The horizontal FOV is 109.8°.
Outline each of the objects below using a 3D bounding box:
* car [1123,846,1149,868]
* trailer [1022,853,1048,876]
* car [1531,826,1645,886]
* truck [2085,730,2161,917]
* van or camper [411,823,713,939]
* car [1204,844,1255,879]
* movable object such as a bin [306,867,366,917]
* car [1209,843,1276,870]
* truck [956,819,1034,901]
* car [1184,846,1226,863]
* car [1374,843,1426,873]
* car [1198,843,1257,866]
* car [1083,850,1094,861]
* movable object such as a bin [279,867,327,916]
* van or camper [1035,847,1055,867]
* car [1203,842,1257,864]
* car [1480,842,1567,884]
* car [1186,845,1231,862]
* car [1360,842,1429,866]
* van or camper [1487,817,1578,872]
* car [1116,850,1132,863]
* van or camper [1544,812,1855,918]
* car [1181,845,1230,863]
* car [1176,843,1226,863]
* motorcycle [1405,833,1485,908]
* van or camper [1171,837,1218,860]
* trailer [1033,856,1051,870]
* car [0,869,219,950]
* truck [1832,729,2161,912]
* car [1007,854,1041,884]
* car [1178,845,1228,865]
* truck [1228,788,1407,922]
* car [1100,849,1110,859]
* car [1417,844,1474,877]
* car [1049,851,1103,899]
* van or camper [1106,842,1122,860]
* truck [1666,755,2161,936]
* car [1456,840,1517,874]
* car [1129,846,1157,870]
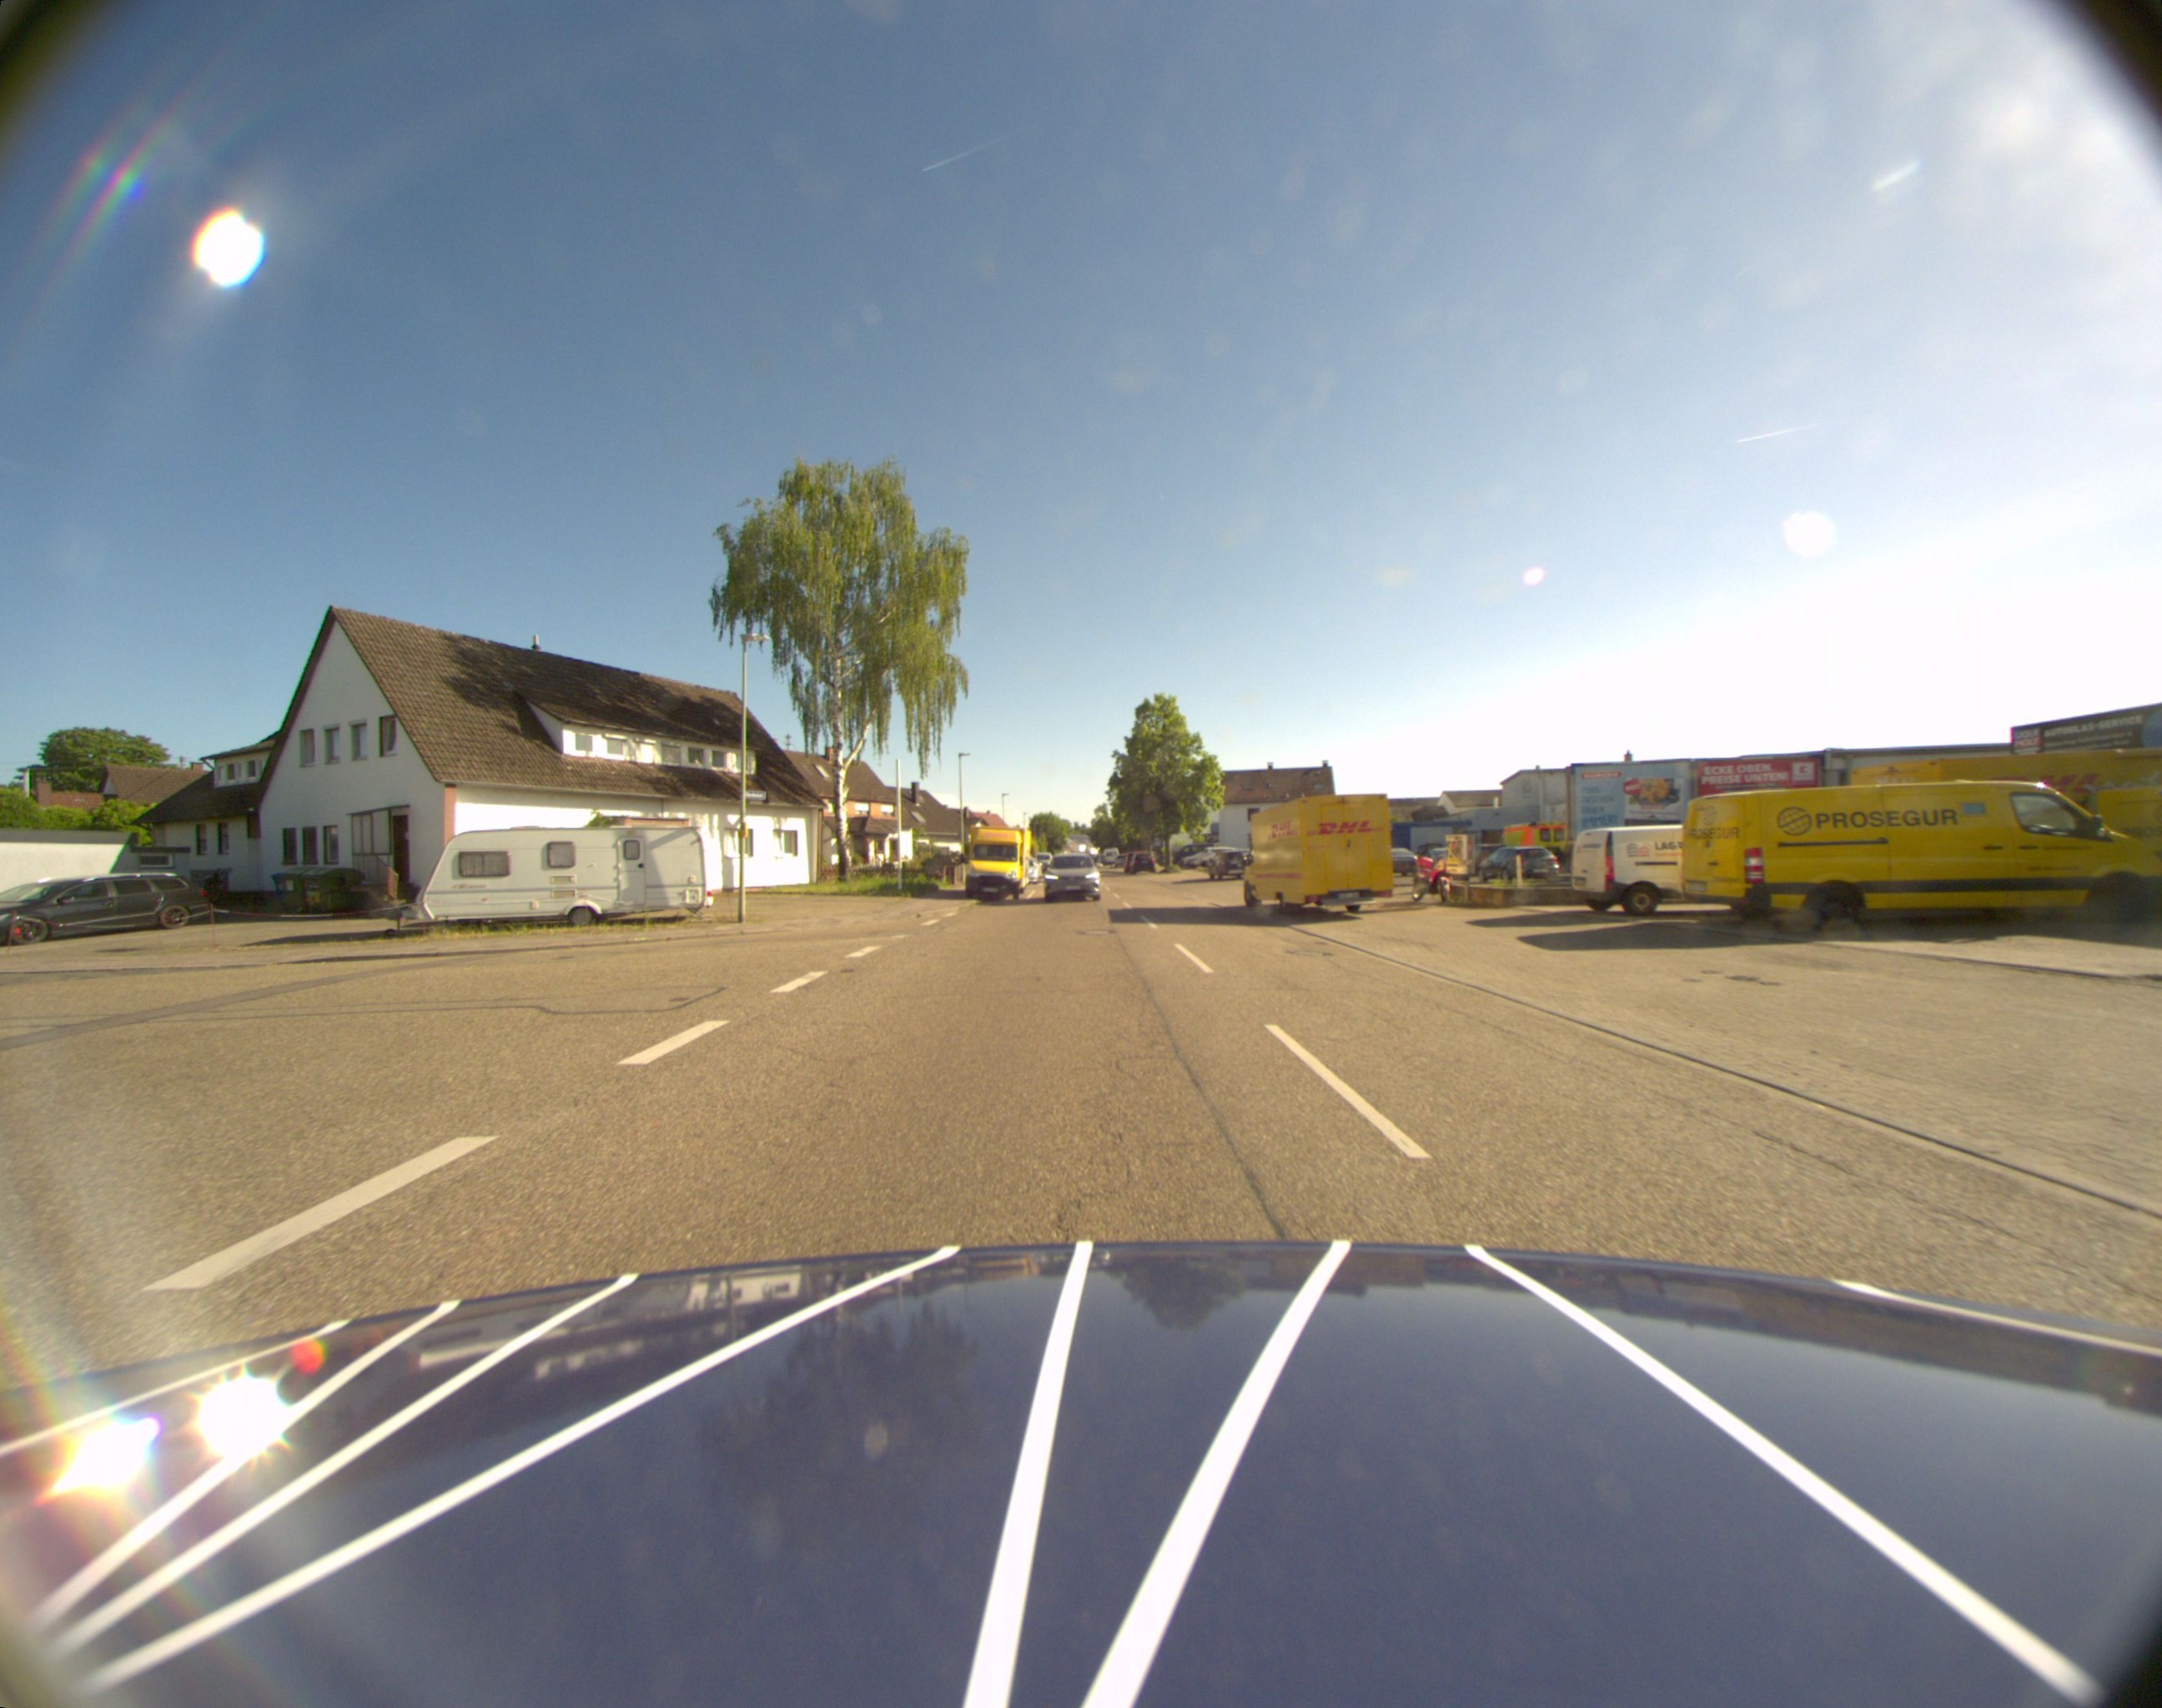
[{"bbox_3d":[4.780,0.213,66.341,1.808,1.742,4.341,-3,1,0],"label":"car"},{"bbox_3d":[-3.301,0.739,54.968,1.631,1.529,3.198,-1,1,0],"label":"trailer"},{"bbox_3d":[17.064,0.009,25.819,1.996,1.805,4.003,-2,1,15],"label":"car"},{"bbox_3d":[19.673,-0.517,11.455,5.343,2.955,2.175,-1,1,12],"label":"truck"},{"bbox_3d":[-12.399,0.541,18.830,5.840,2.527,2.285,-1,1,-26],"label":"van or camper"},{"bbox_3d":[8.345,0.379,42.954,1.866,1.704,4.275,-4,1,-1],"label":"car"},{"bbox_3d":[-22.238,1.119,22.698,0.834,1.428,0.993,-1,1,23],"label":"movable object such as a bin"},{"bbox_3d":[11.015,0.155,52.032,4.258,1.719,1.766,-1,1,5],"label":"car"},{"bbox_3d":[-3.319,0.171,30.910,2.409,2.920,7.014,1,1,-1],"label":"truck"},{"bbox_3d":[11.985,0.049,73.472,3.815,1.533,1.548,-2,1,0],"label":"car"},{"bbox_3d":[17.473,0.256,41.839,1.779,1.536,4.168,-1,-1,11],"label":"car"},{"bbox_3d":[11.462,0.064,59.538,4.259,1.719,1.766,-1,1,1],"label":"car"},{"bbox_3d":[1.372,0.193,142.910,1.899,2.020,4.817,1,1,0],"label":"car"},{"bbox_3d":[-23.603,1.117,23.050,1.191,1.428,0.601,-1,1,23],"label":"movable object such as a bin"},{"bbox_3d":[-3.590,0.257,76.534,1.723,1.880,4.179,-2,1,0],"label":"van or camper"},{"bbox_3d":[12.589,-0.103,64.403,4.259,1.719,1.765,-1,1,0],"label":"car"},{"bbox_3d":[17.440,0.352,30.194,1.779,1.536,4.301,-1,-1,13],"label":"car"},{"bbox_3d":[12.665,-0.057,75.809,4.258,1.533,1.766,-2,1,5],"label":"car"},{"bbox_3d":[20.871,-0.021,50.673,3.993,1.442,1.670,-1,2,13],"label":"car"},{"bbox_3d":[24.467,-0.505,41.508,2.168,2.699,6.273,-1,1,10],"label":"van or camper"},{"bbox_3d":[5.259,0.245,93.302,1.691,1.427,4.209,-3,0,1],"label":"car"},{"bbox_3d":[12.617,0.219,15.841,4.552,2.002,2.252,-1,1,6],"label":"van or camper"},{"bbox_3d":[11.796,-0.023,72.052,4.260,1.576,1.765,-2,0,-2],"label":"car"},{"bbox_3d":[10.898,-0.118,69.209,4.258,1.742,1.766,-1,1,3],"label":"car"},{"bbox_3d":[9.965,0.422,20.971,0.783,1.862,3.041,-4,0,3],"label":"motorcycle"},{"bbox_3d":[12.232,-0.609,81.940,4.900,2.307,2.245,-2,1,11],"label":"van or camper"},{"bbox_3d":[-3.645,0.803,71.700,1.632,1.210,3.143,-1,0,-3],"label":"trailer"},{"bbox_3d":[-24.116,1.269,18.099,1.719,1.430,4.629,-1,3,1],"label":"car"},{"bbox_3d":[18.761,-0.624,14.582,5.678,3.101,2.525,-3,1,11],"label":"truck"},{"bbox_3d":[-3.233,0.821,43.353,1.789,1.533,4.535,-1,0,-4],"label":"car"},{"bbox_3d":[10.697,0.068,66.741,4.258,1.719,1.766,-1,1,5],"label":"car"},{"bbox_3d":[6.141,-0.008,21.067,2.409,2.966,7.243,-3,1,-2],"label":"truck"},{"bbox_3d":[4.306,0.036,134.844,1.697,1.557,3.907,-4,0,2],"label":"car"},{"bbox_3d":[19.916,0.369,41.724,1.779,1.738,4.168,-1,-1,11],"label":"car"},{"bbox_3d":[-0.214,0.710,27.450,1.777,1.624,3.703,-1,0,-2],"label":"car"},{"bbox_3d":[4.963,-0.465,115.551,2.128,2.475,5.556,-5,-1,1],"label":"van or camper"},{"bbox_3d":[13.795,-0.095,12.717,5.931,2.553,2.225,-2,1,11],"label":"truck"},{"bbox_3d":[22.243,0.193,41.860,1.779,1.738,4.168,-1,-1,11],"label":"car"},{"bbox_3d":[4.894,0.289,60.176,1.678,1.761,4.554,-3,1,-1],"label":"car"}]
